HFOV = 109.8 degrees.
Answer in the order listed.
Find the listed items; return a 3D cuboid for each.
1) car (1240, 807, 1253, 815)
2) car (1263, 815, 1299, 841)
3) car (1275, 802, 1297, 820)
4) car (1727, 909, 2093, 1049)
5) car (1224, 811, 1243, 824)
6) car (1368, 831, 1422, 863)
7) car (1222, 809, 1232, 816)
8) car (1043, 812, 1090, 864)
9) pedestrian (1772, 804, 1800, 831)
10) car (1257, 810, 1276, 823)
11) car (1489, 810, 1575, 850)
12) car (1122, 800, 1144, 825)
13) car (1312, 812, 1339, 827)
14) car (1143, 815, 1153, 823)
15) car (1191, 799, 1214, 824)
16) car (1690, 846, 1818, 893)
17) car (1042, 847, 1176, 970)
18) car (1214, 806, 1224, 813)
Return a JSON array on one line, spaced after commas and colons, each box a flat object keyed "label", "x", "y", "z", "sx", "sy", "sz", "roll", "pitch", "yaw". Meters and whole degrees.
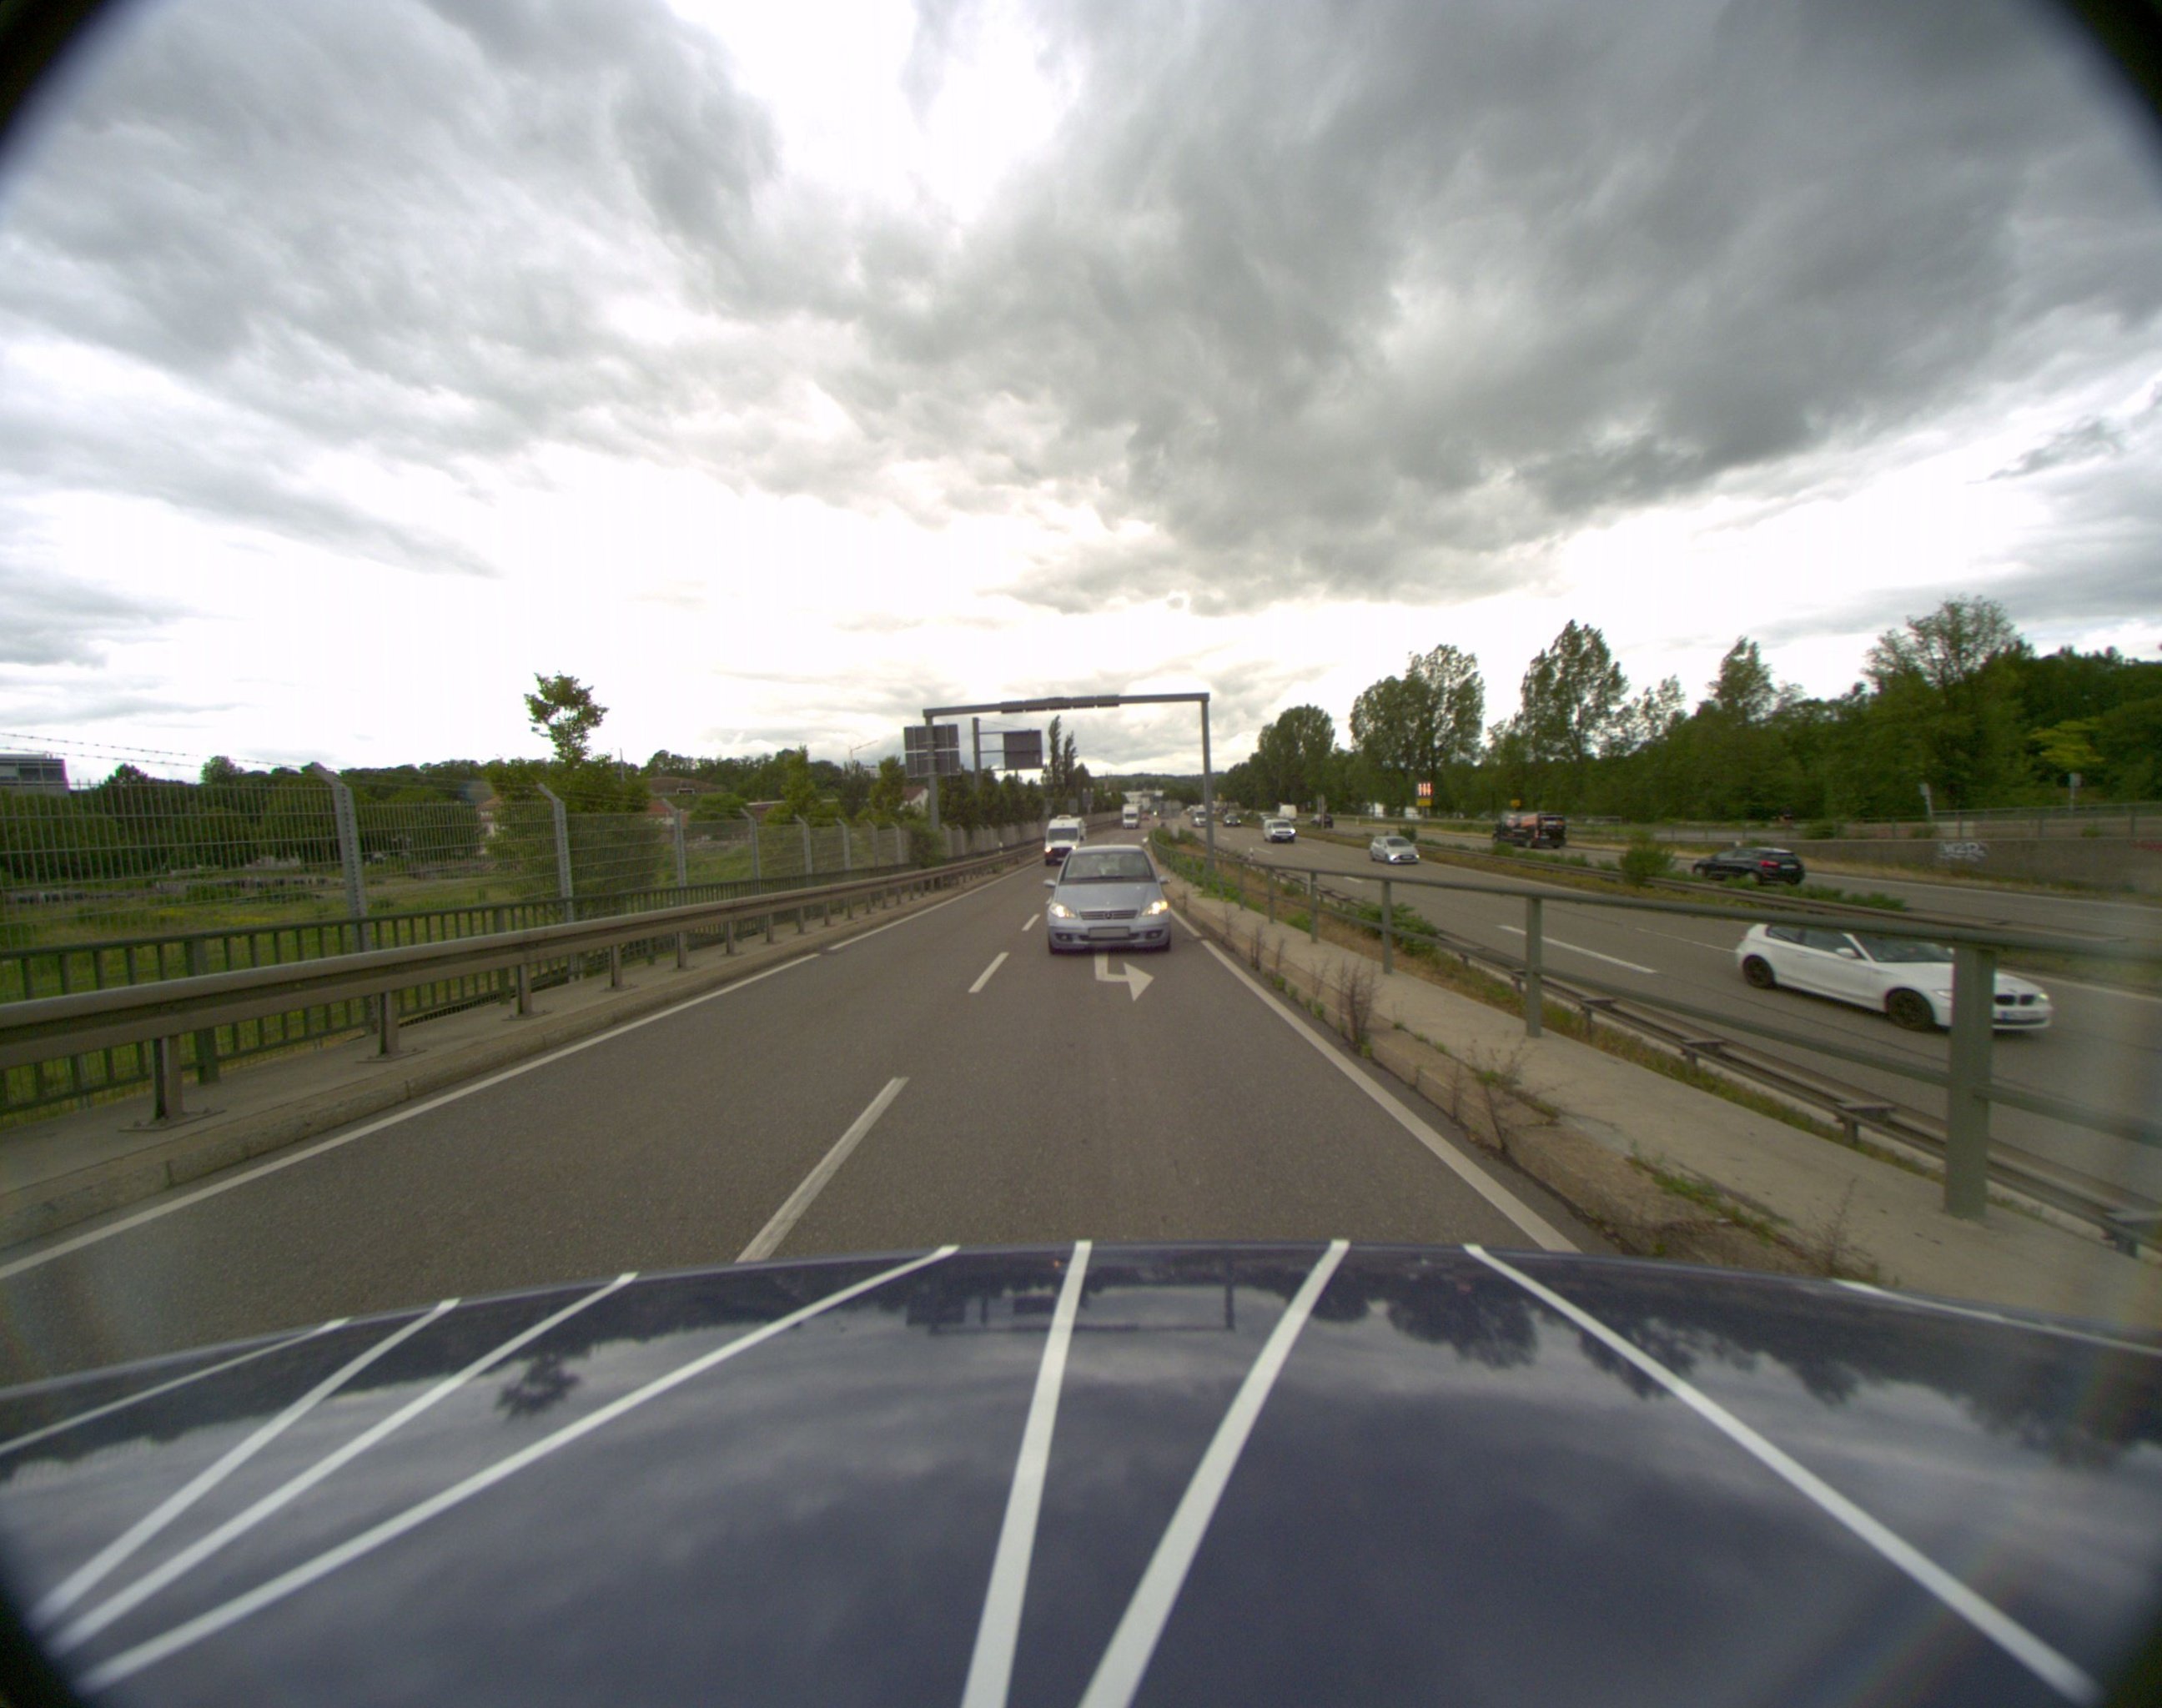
[{"label": "car", "x": 35.950, "y": -9.321, "z": 165.382, "sx": 1.903, "sy": 1.641, "sz": 3.929, "roll": -2, "pitch": 4, "yaw": 1}, {"label": "car", "x": 16.769, "y": -2.246, "z": 63.979, "sx": 1.954, "sy": 1.925, "sz": 4.893, "roll": -2, "pitch": 5, "yaw": 3}, {"label": "car", "x": 33.789, "y": -7.165, "z": 125.459, "sx": 2.215, "sy": 2.765, "sz": 5.356, "roll": -1, "pitch": 5, "yaw": 1}, {"label": "car", "x": 13.869, "y": 1.975, "z": 13.179, "sx": 1.747, "sy": 1.444, "sz": 4.163, "roll": -2, "pitch": 4, "yaw": 0}, {"label": "car", "x": 20.457, "y": -4.932, "z": 102.112, "sx": 1.845, "sy": 1.704, "sz": 4.277, "roll": -1, "pitch": 4, "yaw": 2}, {"label": "car", "x": 17.738, "y": -0.420, "z": 43.090, "sx": 1.560, "sy": 1.545, "sz": 3.680, "roll": -2, "pitch": 4, "yaw": 0}, {"label": "car", "x": 36.385, "y": -10.261, "z": 189.633, "sx": 1.903, "sy": 1.641, "sz": 3.929, "roll": -2, "pitch": 4, "yaw": 1}, {"label": "car", "x": -0.750, "y": -0.951, "z": 44.948, "sx": 2.115, "sy": 2.768, "sz": 6.780, "roll": -2, "pitch": 1, "yaw": 4}, {"label": "pedestrian", "x": 46.711, "y": -2.433, "z": 50.377, "sx": 0.832, "sy": 1.696, "sz": 1.077, "roll": -3, "pitch": 5, "yaw": 1}, {"label": "car", "x": 26.802, "y": -5.434, "z": 110.037, "sx": 1.761, "sy": 1.641, "sz": 3.928, "roll": -2, "pitch": 5, "yaw": 0}, {"label": "car", "x": 31.000, "y": -1.739, "z": 52.528, "sx": 2.250, "sy": 2.534, "sz": 6.109, "roll": -2, "pitch": 4, "yaw": 0}, {"label": "car", "x": 7.333, "y": -5.723, "z": 105.693, "sx": 2.664, "sy": 3.311, "sz": 7.091, "roll": -2, "pitch": 2, "yaw": 6}, {"label": "car", "x": 29.349, "y": -4.160, "z": 91.410, "sx": 1.903, "sy": 1.641, "sz": 4.330, "roll": -1, "pitch": 4, "yaw": 1}, {"label": "car", "x": 13.874, "y": -7.250, "z": 156.756, "sx": 1.780, "sy": 1.578, "sz": 4.000, "roll": -2, "pitch": 1, "yaw": 2}, {"label": "car", "x": 16.854, "y": -6.017, "z": 105.898, "sx": 2.366, "sy": 3.224, "sz": 7.655, "roll": -2, "pitch": 5, "yaw": 3}, {"label": "car", "x": 26.935, "y": 0.555, "z": 30.599, "sx": 1.668, "sy": 1.493, "sz": 3.855, "roll": -1, "pitch": 5, "yaw": 1}, {"label": "car", "x": 0.397, "y": 0.733, "z": 12.372, "sx": 1.781, "sy": 1.578, "sz": 3.999, "roll": -2, "pitch": 1, "yaw": 0}, {"label": "car", "x": 37.344, "y": -12.032, "z": 205.412, "sx": 1.903, "sy": 1.641, "sz": 3.929, "roll": -2, "pitch": 4, "yaw": 1}]
